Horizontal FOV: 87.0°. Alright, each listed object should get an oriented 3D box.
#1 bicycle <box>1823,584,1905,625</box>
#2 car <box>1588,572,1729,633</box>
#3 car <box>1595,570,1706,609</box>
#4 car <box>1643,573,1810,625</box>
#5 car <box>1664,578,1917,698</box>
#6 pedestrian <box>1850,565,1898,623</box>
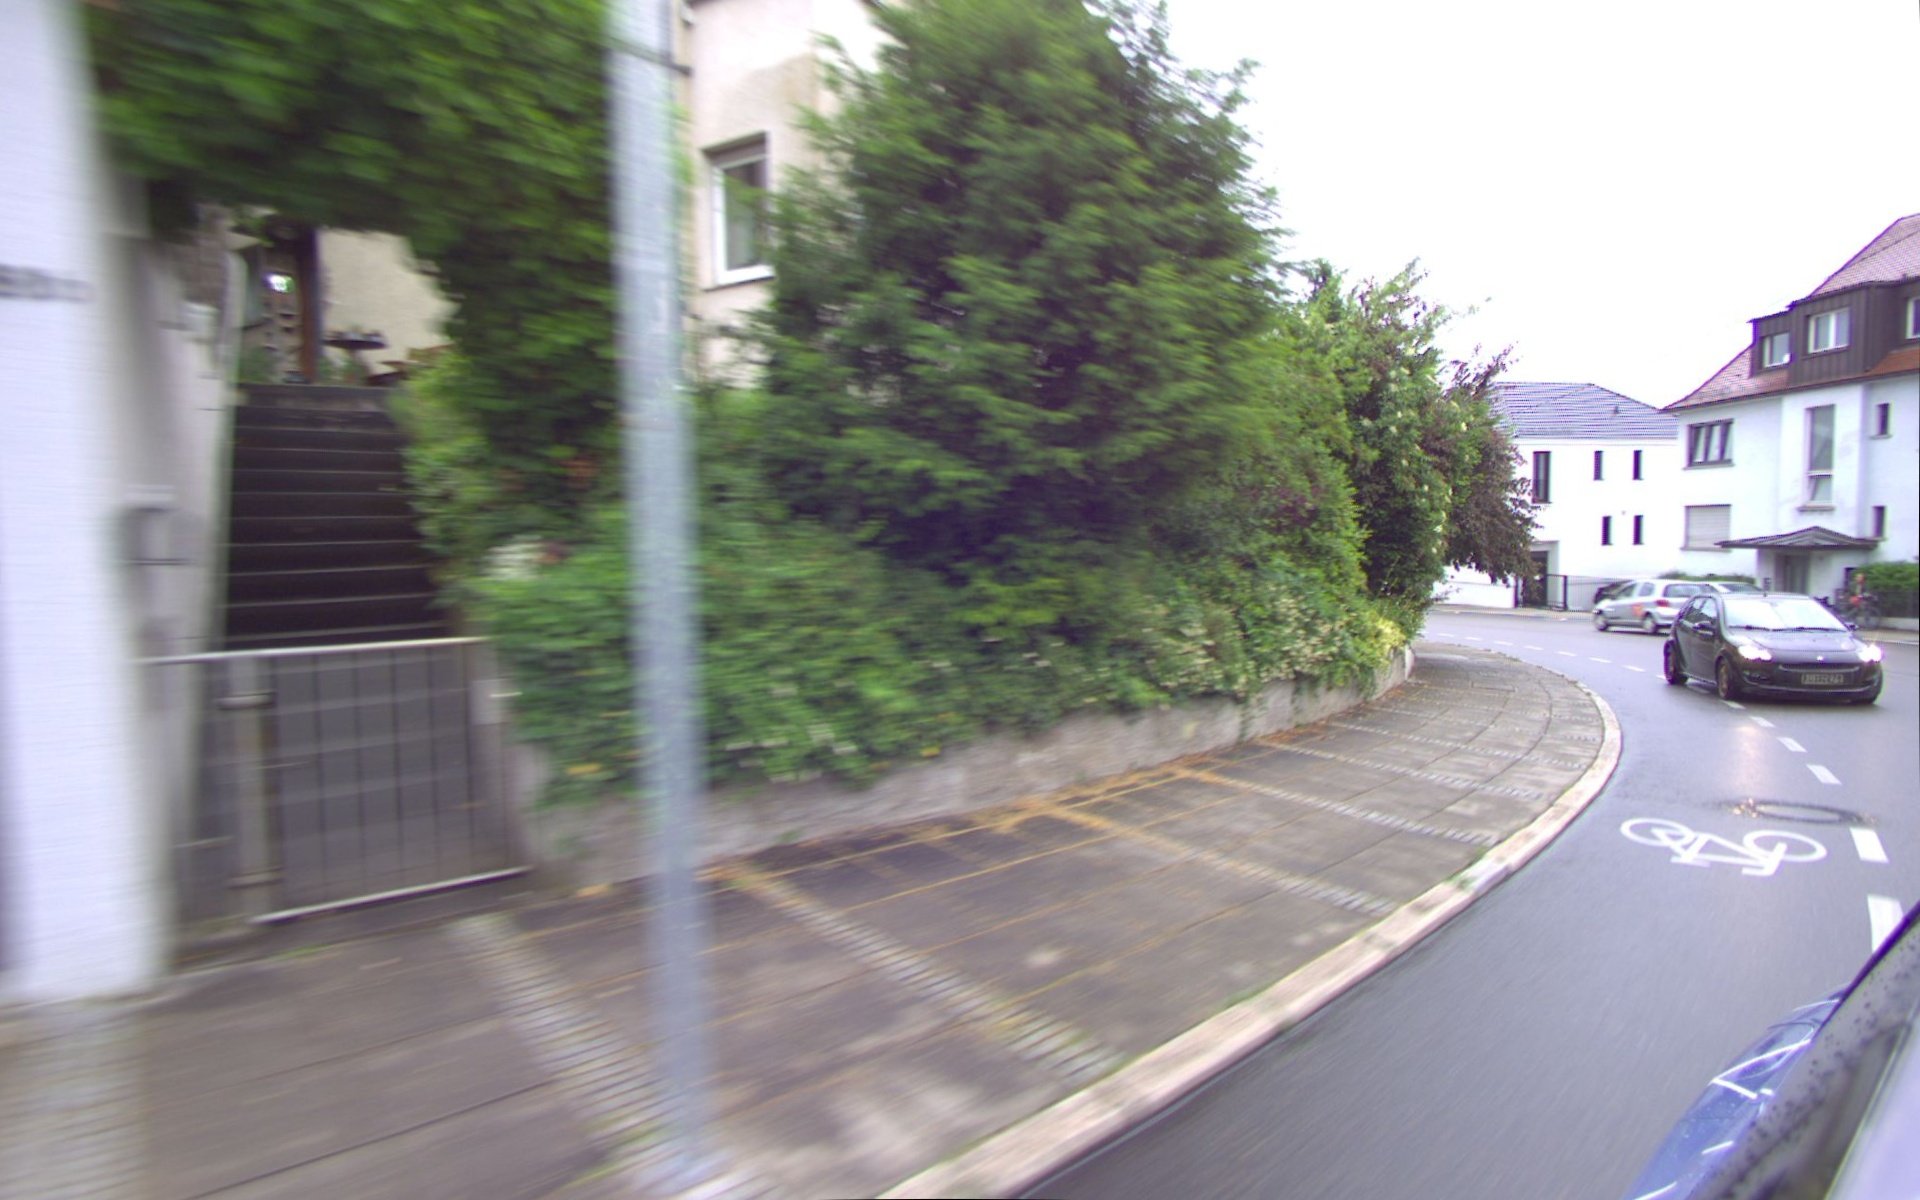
[{"bbox_3d":[25.441,0.107,28.514,0.448,1.080,1.923,-2,1,-4],"label":"bicycle"},{"bbox_3d":[19.308,0.005,28.165,1.466,1.440,3.852,3,3,6],"label":"car"},{"bbox_3d":[30.456,-0.462,44.694,3.916,1.369,1.747,3,3,-12],"label":"car"},{"bbox_3d":[23.051,-0.081,30.659,1.807,1.443,4.231,-1,1,-1],"label":"car"},{"bbox_3d":[11.594,0.461,14.439,1.661,1.431,3.612,-4,0,21],"label":"car"},{"bbox_3d":[26.036,-0.182,28.835,0.928,1.597,0.495,-2,1,-7],"label":"pedestrian"}]
